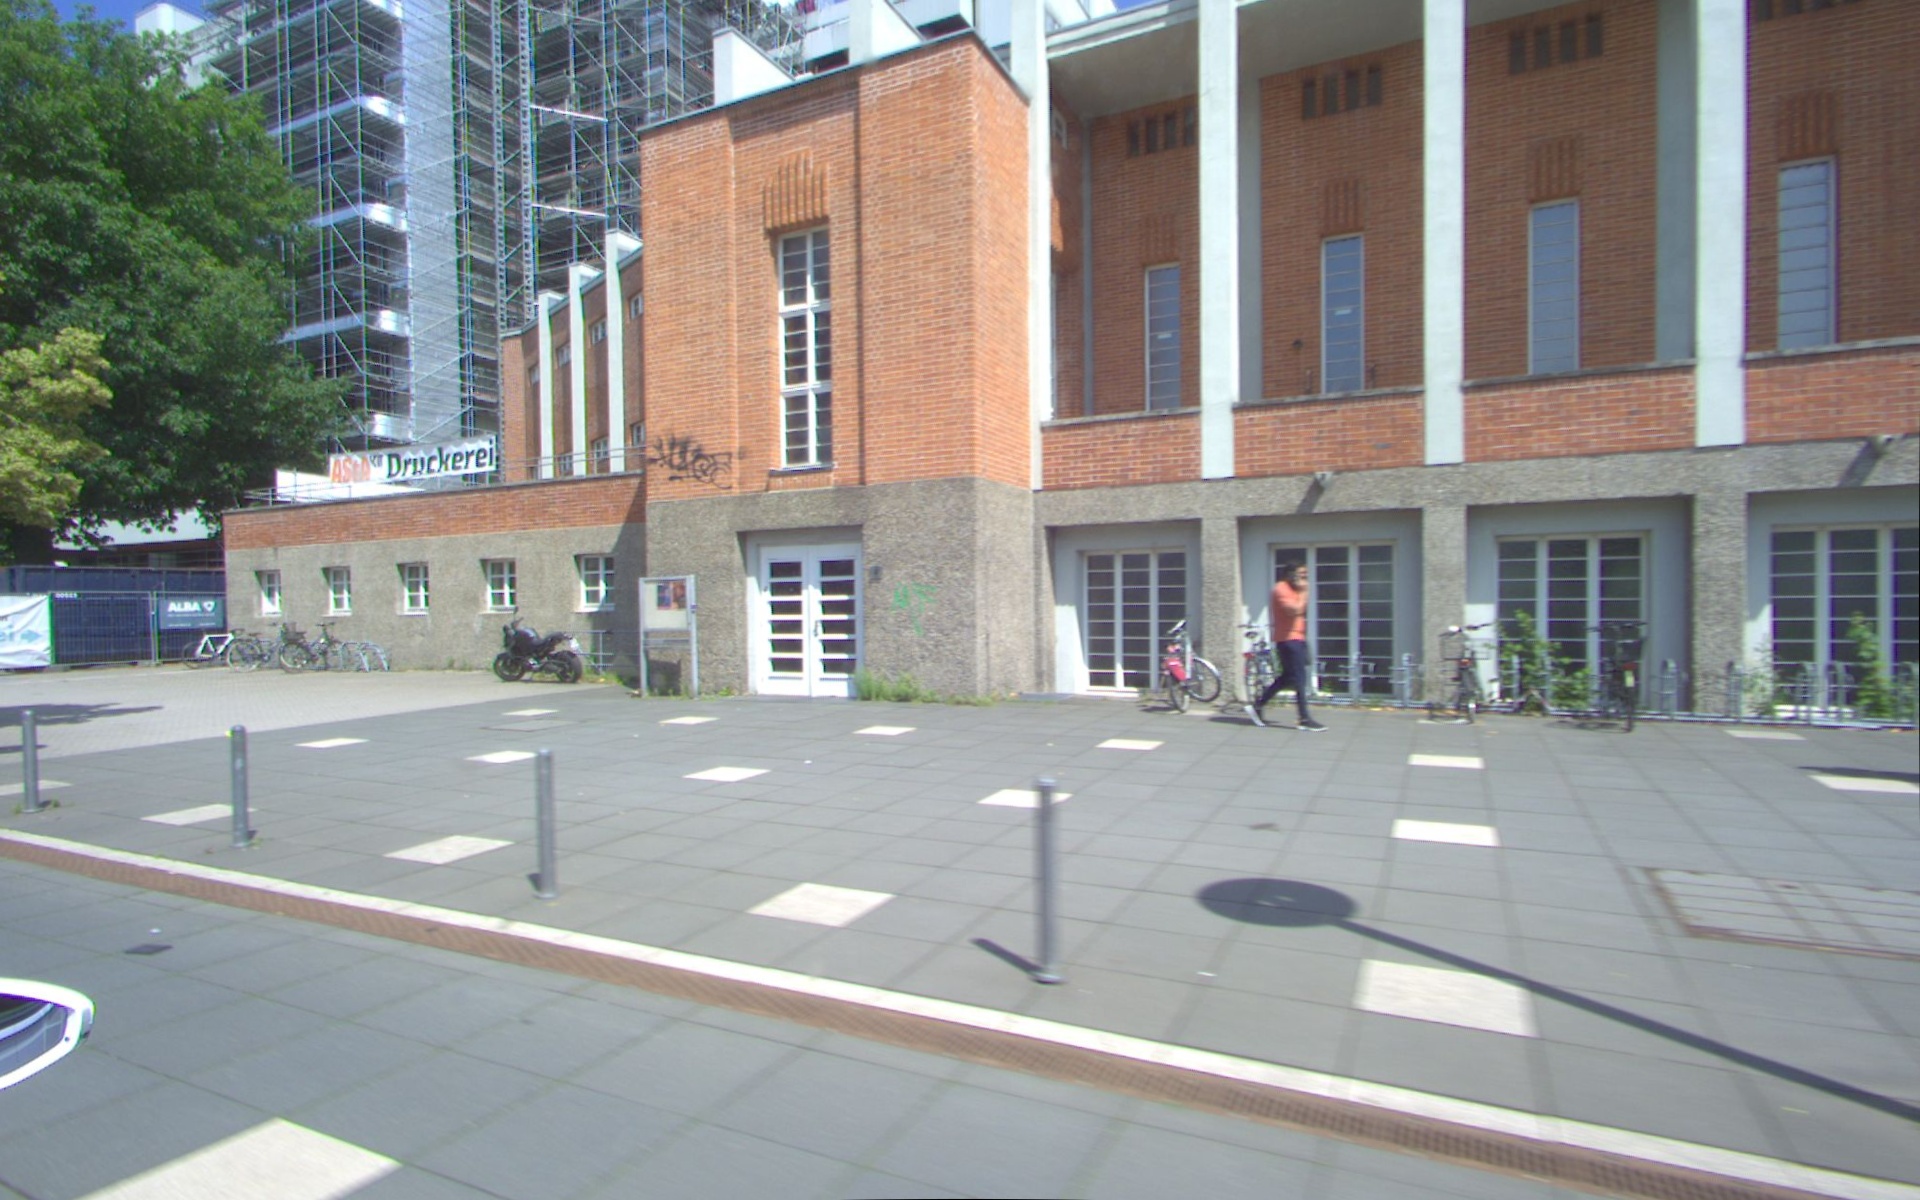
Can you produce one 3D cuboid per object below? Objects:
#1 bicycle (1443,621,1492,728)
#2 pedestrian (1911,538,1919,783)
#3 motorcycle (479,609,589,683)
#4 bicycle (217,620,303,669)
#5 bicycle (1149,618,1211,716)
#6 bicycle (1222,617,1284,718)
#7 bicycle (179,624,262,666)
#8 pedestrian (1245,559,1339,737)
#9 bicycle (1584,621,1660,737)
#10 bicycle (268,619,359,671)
[{"bbox_3d":[5.895,0.820,11.672,0.428,1.125,1.747,0,0,25],"label":"bicycle"},{"bbox_3d":[7.719,0.453,7.095,1.177,1.858,0.845,0,0,21],"label":"pedestrian"},{"bbox_3d":[-8.021,0.838,18.809,2.186,1.341,0.695,0,0,29],"label":"motorcycle"},{"bbox_3d":[-16.950,1.057,24.299,0.441,1.124,1.700,0,0,27],"label":"bicycle"},{"bbox_3d":[2.893,0.832,13.077,0.428,1.165,1.753,0,0,25],"label":"bicycle"},{"bbox_3d":[3.752,0.811,12.759,0.509,1.165,1.753,0,0,25],"label":"bicycle"},{"bbox_3d":[-18.885,1.127,25.611,0.441,1.016,1.670,0,0,27],"label":"bicycle"},{"bbox_3d":[3.642,0.508,10.978,0.892,1.858,0.662,0,1,27],"label":"pedestrian"},{"bbox_3d":[7.122,0.803,10.819,0.428,1.125,1.682,0,0,25],"label":"bicycle"},{"bbox_3d":[-15.109,1.031,23.452,0.441,1.124,1.805,0,0,27],"label":"bicycle"}]
